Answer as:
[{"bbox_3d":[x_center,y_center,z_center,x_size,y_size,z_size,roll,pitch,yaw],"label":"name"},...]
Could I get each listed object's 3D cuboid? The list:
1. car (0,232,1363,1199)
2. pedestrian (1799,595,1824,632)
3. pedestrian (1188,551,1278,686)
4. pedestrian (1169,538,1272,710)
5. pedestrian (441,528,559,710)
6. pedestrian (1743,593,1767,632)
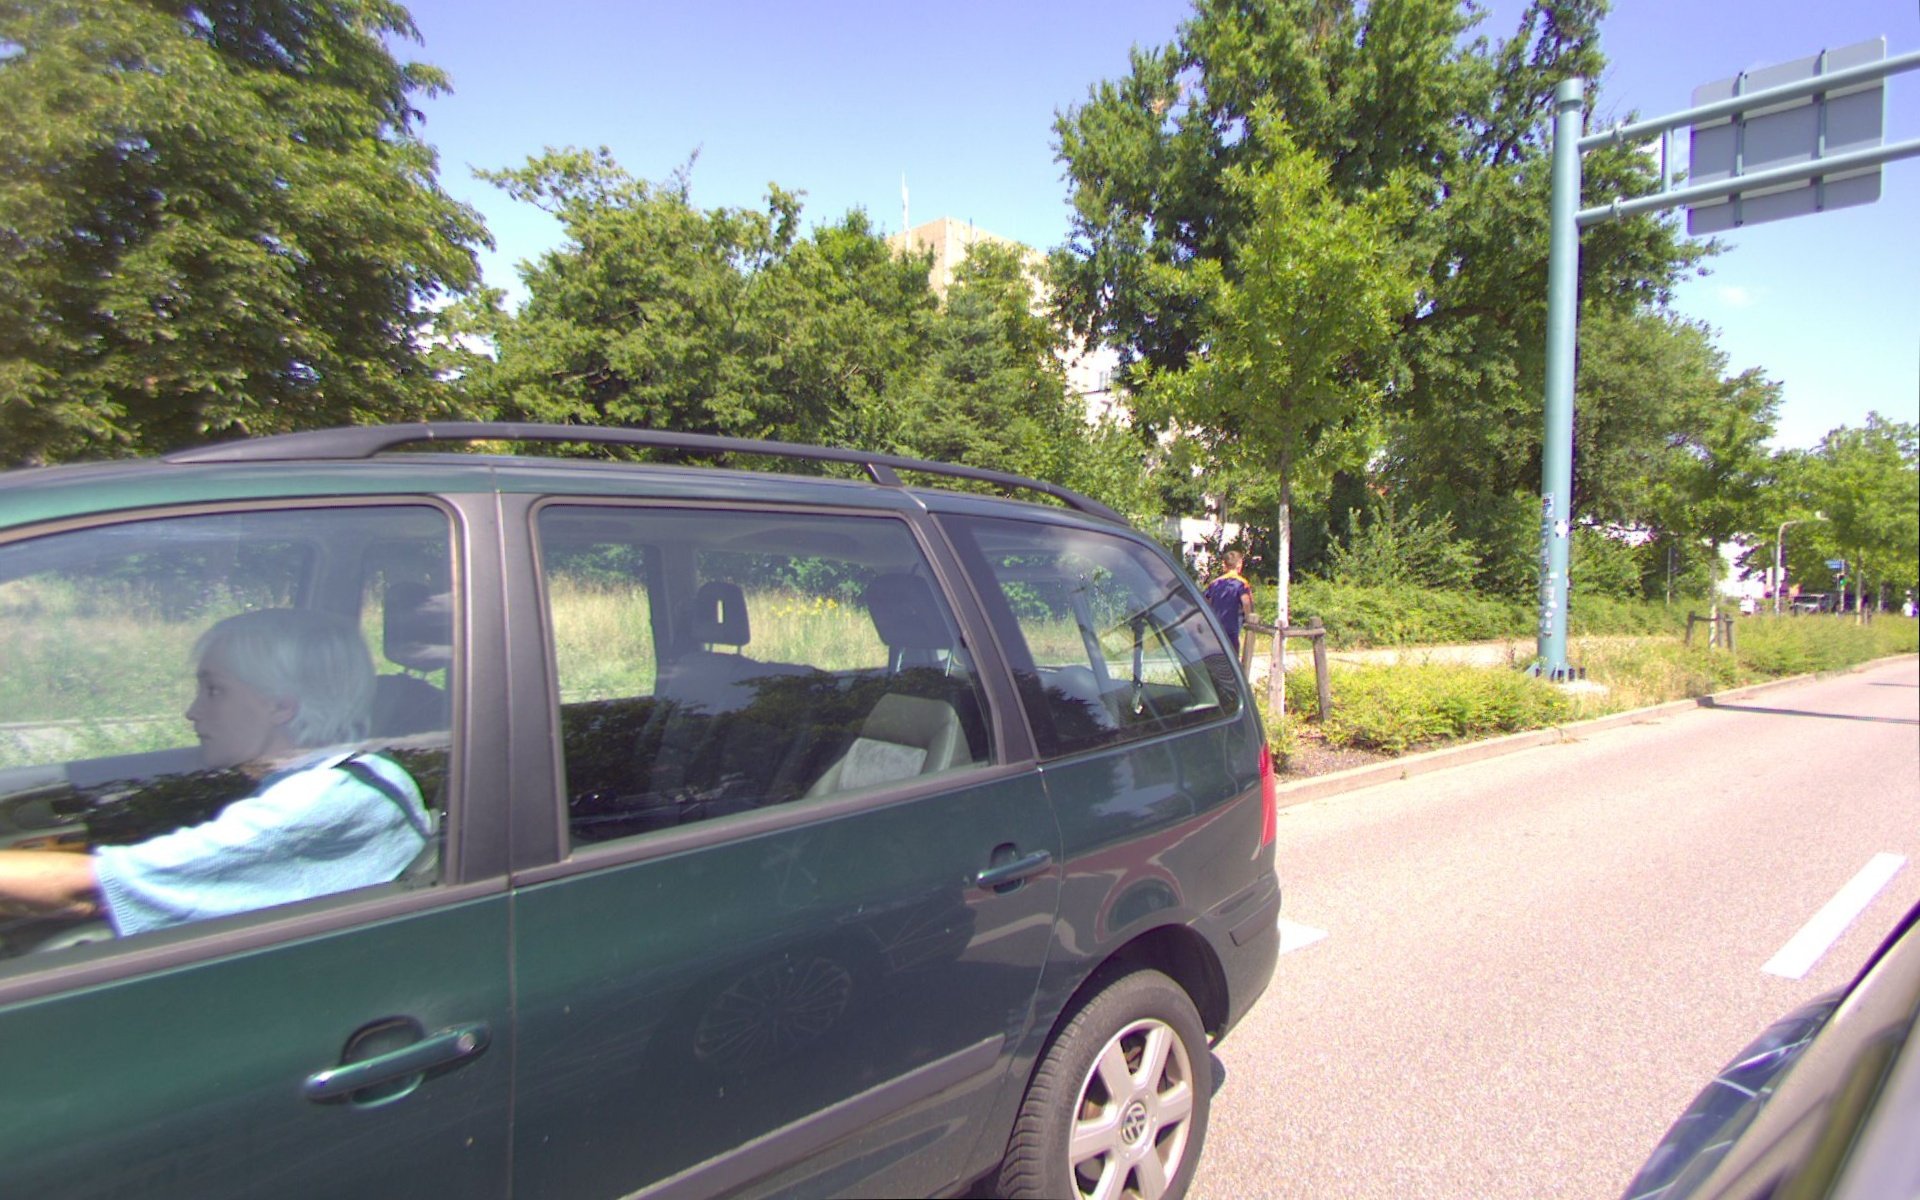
[{"bbox_3d":[-1.136,0.525,1.956,4.315,1.737,1.804,0,-1,-41],"label":"car"},{"bbox_3d":[38.800,0.605,46.115,0.752,1.630,0.765,1,1,-45],"label":"pedestrian"},{"bbox_3d":[3.580,0.227,13.304,0.799,1.705,0.762,1,1,-29],"label":"pedestrian"},{"bbox_3d":[2.831,0.248,11.016,0.869,1.787,0.640,1,1,-35],"label":"pedestrian"},{"bbox_3d":[-4.224,0.158,9.282,0.801,1.576,0.761,1,1,-38],"label":"pedestrian"},{"bbox_3d":[42.383,0.648,53.966,0.839,2.063,0.892,2,0,30],"label":"pedestrian"}]
